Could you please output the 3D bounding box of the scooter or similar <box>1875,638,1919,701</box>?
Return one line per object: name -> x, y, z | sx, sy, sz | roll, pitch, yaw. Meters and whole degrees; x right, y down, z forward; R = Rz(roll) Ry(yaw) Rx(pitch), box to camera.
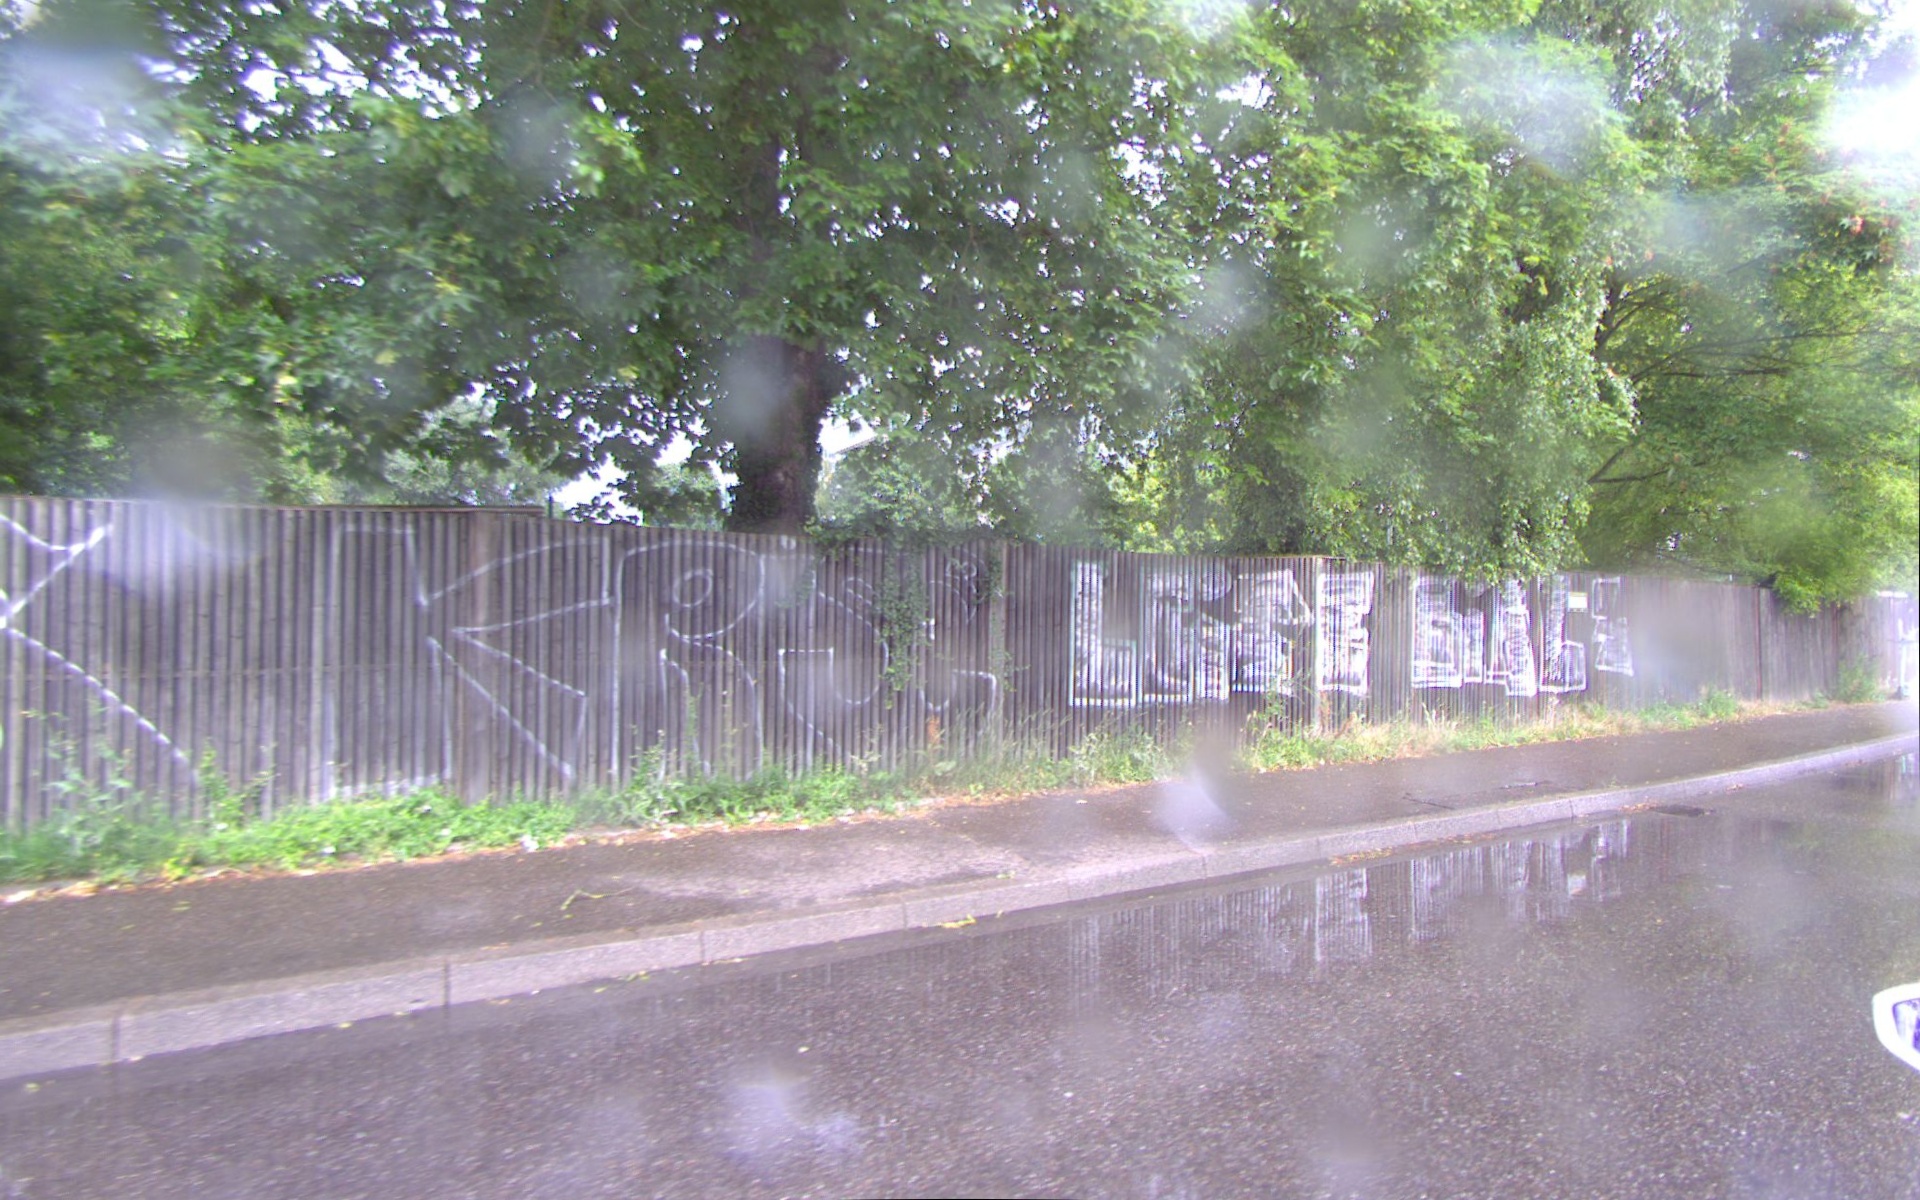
scooter or similar -> 18.441, 1.349, 19.689 | 1.197, 1.178, 0.558 | 1, -1, -37
